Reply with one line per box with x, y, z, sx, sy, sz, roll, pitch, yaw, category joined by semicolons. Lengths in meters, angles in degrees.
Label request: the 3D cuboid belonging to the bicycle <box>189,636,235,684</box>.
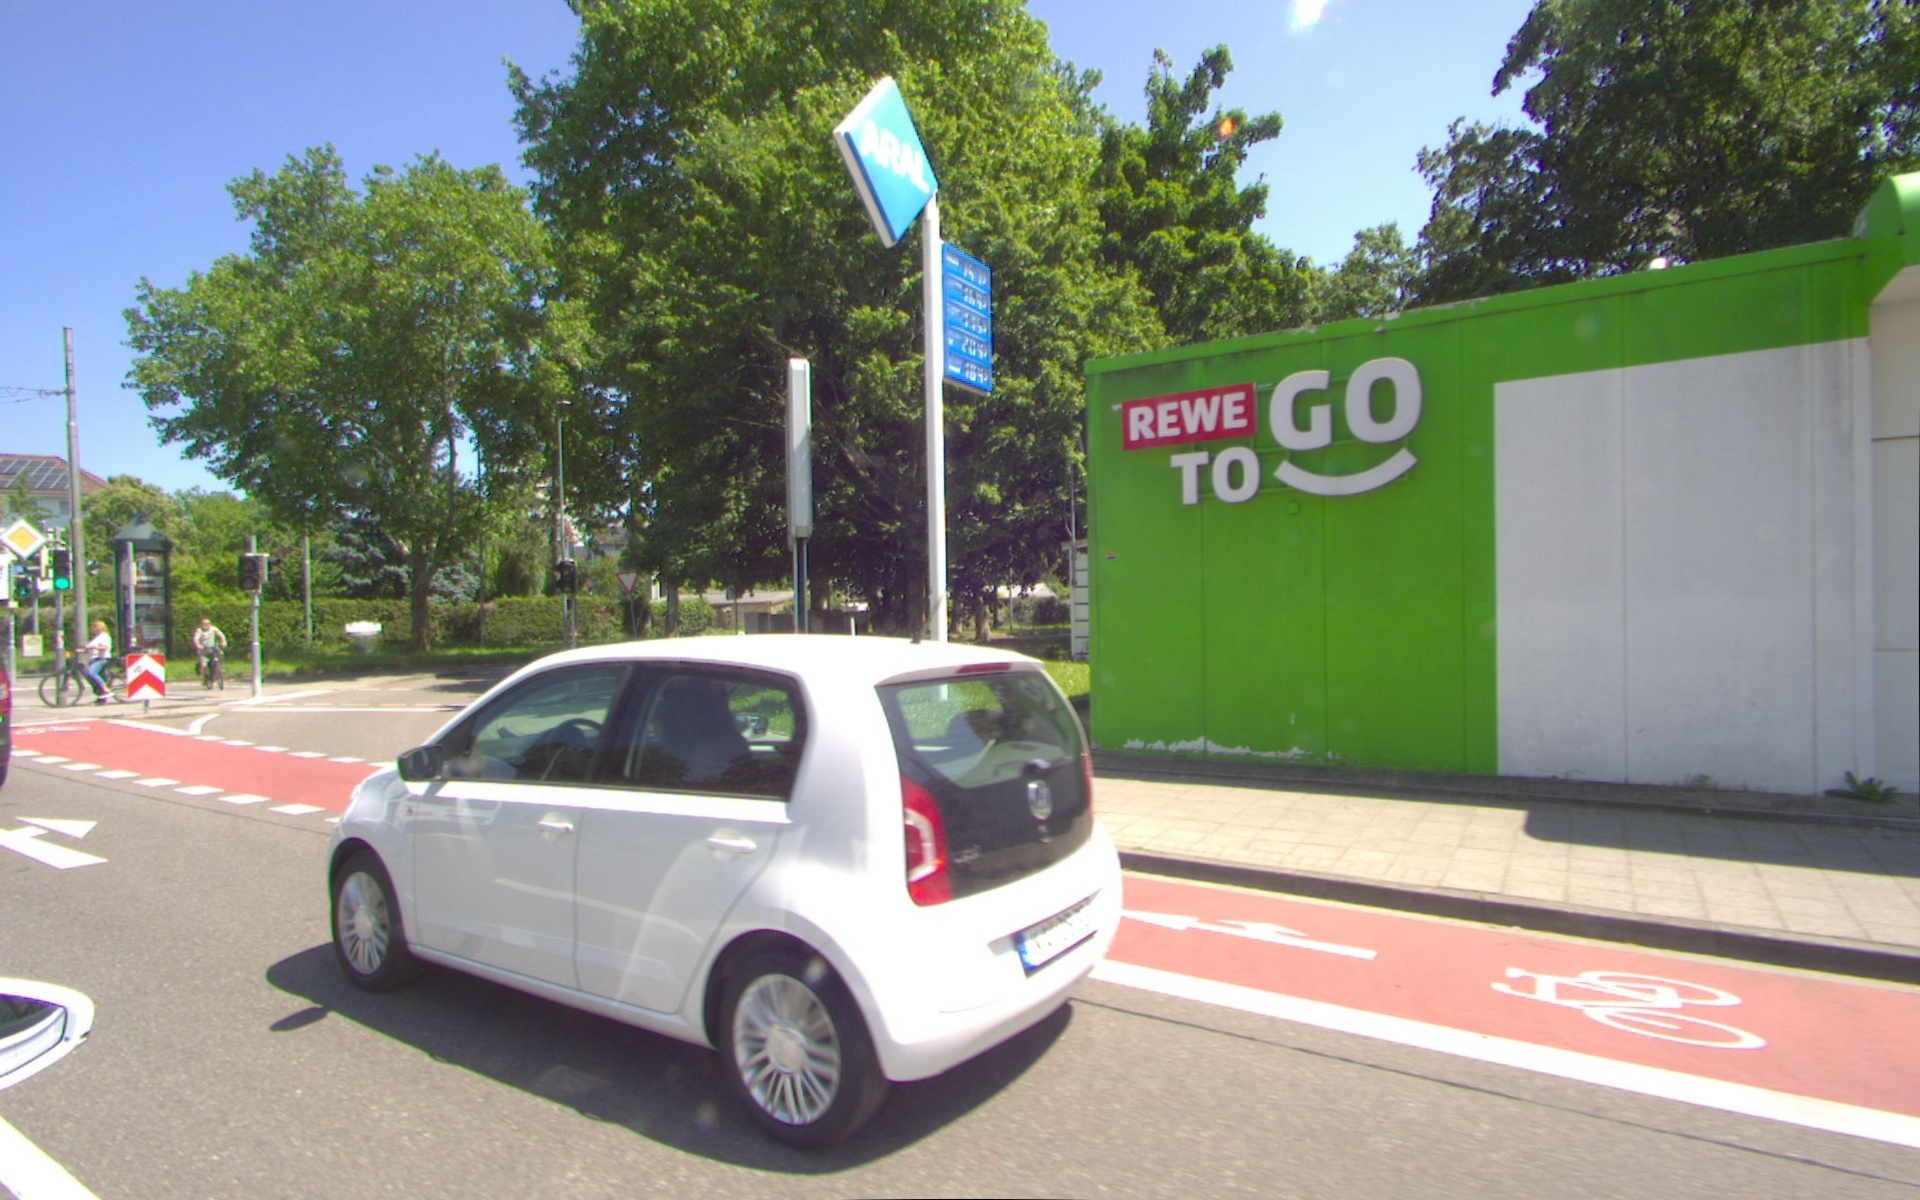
-19.303;1.533;25.874;0.884;1.174;1.943;0;-1;-35;bicycle

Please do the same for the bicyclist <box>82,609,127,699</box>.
-17.611;1.112;20.616;0.759;1.810;0.574;-1;-2;40;bicyclist

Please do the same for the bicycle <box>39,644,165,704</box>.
-17.637;1.487;20.611;0.884;1.139;1.859;-1;-2;40;bicycle

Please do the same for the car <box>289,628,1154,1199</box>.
-1.092;0.859;4.154;3.387;1.466;1.607;-1;-2;33;car

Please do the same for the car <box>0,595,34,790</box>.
-10.989;0.890;9.850;4.005;1.811;1.725;-1;-2;31;car

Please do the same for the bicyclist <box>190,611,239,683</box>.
-19.238;1.200;25.855;0.964;1.811;0.721;-1;0;-36;bicyclist
